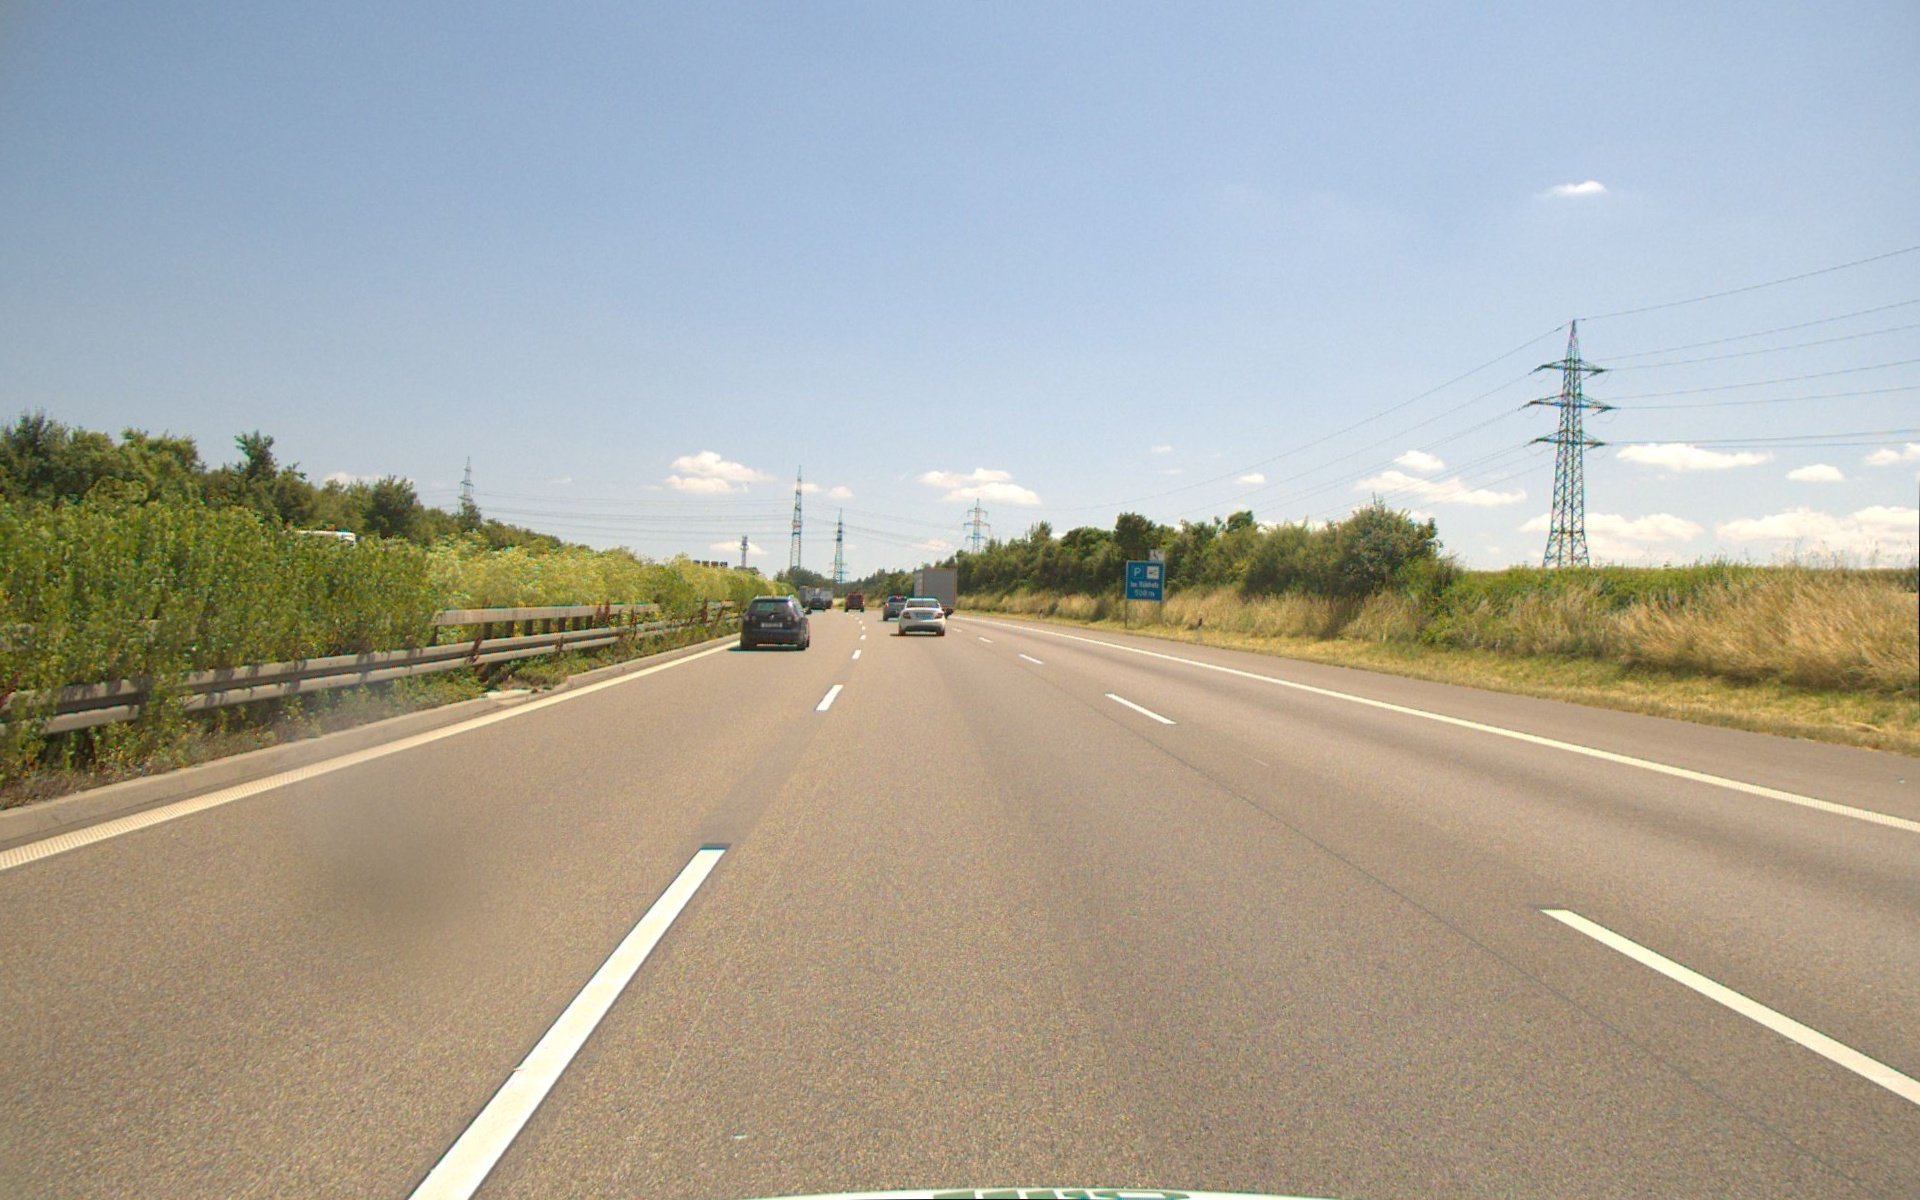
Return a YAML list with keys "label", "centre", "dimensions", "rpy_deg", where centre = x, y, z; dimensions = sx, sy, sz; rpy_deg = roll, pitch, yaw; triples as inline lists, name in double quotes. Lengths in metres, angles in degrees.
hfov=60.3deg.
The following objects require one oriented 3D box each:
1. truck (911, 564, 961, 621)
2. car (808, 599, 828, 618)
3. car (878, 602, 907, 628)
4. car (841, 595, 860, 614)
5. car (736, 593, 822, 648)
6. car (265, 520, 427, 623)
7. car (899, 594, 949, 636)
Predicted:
- label: "truck"
  centre: [-1.836, -0.506, 122.663]
  dimensions: [3.157, 3.993, 9.053]
  rpy_deg: [1, -1, -4]
- label: "car"
  centre: [-14.558, 0.896, 169.365]
  dimensions: [1.954, 1.892, 3.996]
  rpy_deg: [0, 0, -5]
- label: "car"
  centre: [-4.229, 0.905, 103.420]
  dimensions: [1.802, 1.567, 3.913]
  rpy_deg: [0, 0, -2]
- label: "car"
  centre: [-11.341, 0.472, 170.920]
  dimensions: [1.865, 1.959, 3.995]
  rpy_deg: [0, 0, -6]
- label: "car"
  centre: [-4.957, 0.527, 45.688]
  dimensions: [1.720, 1.454, 4.002]
  rpy_deg: [0, 0, 3]
- label: "car"
  centre: [-21.862, -0.964, 59.504]
  dimensions: [2.737, 3.411, 8.794]
  rpy_deg: [0, 0, -2]
- label: "car"
  centre: [-1.427, 0.545, 64.244]
  dimensions: [1.784, 1.567, 3.911]
  rpy_deg: [0, 0, -4]
